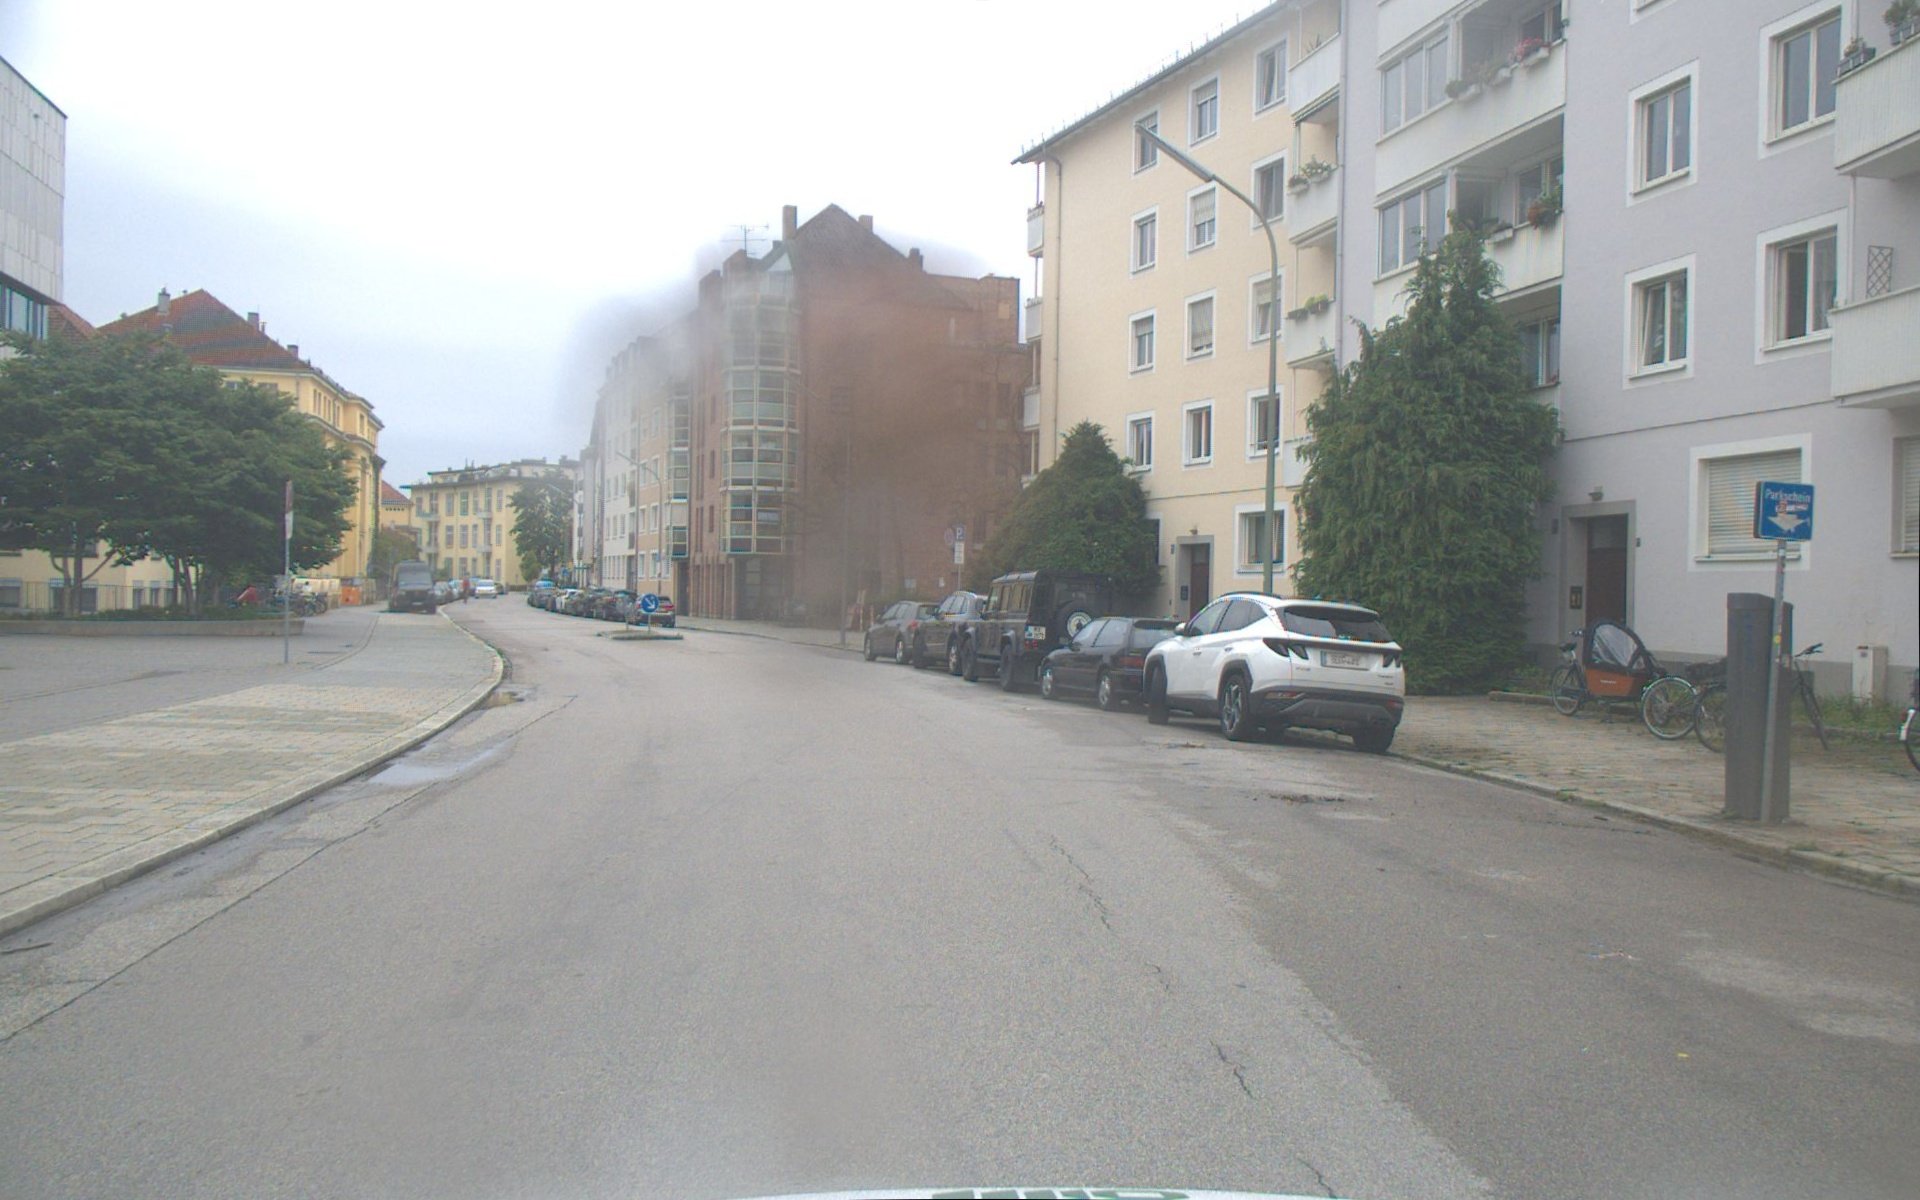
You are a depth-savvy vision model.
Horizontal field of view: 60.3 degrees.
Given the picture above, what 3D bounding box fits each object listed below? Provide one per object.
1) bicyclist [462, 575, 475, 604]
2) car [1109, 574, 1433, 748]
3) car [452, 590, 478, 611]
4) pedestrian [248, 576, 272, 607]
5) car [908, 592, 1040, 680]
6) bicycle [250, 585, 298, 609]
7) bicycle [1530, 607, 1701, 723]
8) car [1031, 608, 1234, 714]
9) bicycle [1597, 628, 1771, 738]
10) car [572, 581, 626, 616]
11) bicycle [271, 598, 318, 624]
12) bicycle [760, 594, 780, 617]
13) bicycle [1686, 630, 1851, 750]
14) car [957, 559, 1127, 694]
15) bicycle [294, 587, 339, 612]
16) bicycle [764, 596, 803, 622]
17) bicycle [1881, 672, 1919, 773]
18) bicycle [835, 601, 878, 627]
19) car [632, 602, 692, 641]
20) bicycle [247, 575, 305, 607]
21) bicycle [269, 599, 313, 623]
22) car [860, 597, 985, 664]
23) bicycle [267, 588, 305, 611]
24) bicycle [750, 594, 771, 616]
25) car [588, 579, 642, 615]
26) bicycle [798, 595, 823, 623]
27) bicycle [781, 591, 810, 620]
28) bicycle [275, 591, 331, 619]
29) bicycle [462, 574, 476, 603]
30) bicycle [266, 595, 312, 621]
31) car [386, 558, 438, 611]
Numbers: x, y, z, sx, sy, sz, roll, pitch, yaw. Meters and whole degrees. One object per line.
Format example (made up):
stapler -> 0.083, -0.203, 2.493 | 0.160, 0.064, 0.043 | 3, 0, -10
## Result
bicyclist -> -35.672, -0.746, 120.068 | 0.754, 2.048, 0.765 | -3, 2, -15
car -> 3.459, 0.610, 19.417 | 1.992, 1.707, 4.597 | 3, 1, -13
car -> -42.608, 0.034, 142.354 | 1.995, 1.649, 4.481 | -1, -1, -18
pedestrian -> -28.552, -0.353, 67.475 | 0.706, 1.183, 1.036 | 3, 1, -15
car -> 0.205, 0.682, 33.498 | 1.630, 1.593, 4.499 | 3, 0, -13
bicycle -> -27.665, -0.107, 66.741 | 1.689, 0.877, 0.438 | 3, 0, -14
bicycle -> 8.632, 0.814, 21.908 | 0.730, 1.391, 2.460 | -2, 1, -16
car -> 2.442, 0.847, 24.313 | 1.632, 1.372, 3.787 | 3, -1, -16
bicycle -> 8.381, 0.930, 19.207 | 0.571, 1.178, 1.810 | -2, 1, -35
car -> -19.240, -0.105, 88.025 | 1.938, 1.629, 4.638 | 3, 1, -23
bicycle -> -29.747, 0.495, 73.938 | 1.832, 1.047, 0.538 | 3, 0, -10
bicycle -> -9.482, 0.252, 82.513 | 0.479, 1.078, 1.982 | 2, 0, -22
bicycle -> 8.781, 0.952, 17.952 | 1.802, 1.178, 0.574 | -2, 1, -24
car -> 1.337, 0.383, 28.961 | 1.717, 2.118, 4.501 | 3, 1, -13
bicycle -> -30.949, -0.034, 79.535 | 1.870, 1.111, 0.676 | 3, 0, -10
bicycle -> -8.620, 0.436, 80.954 | 1.817, 1.167, 0.486 | 3, 0, -14
bicycle -> 9.387, 1.106, 15.465 | 1.443, 0.872, 0.443 | -2, 1, -15
bicycle -> -4.240, 0.558, 67.731 | 1.675, 0.982, 0.543 | 3, 0, -20
car -> -13.293, 0.939, 73.683 | 1.896, 1.538, 4.367 | 3, 0, -20
bicycle -> -28.704, -0.388, 69.430 | 2.066, 1.249, 0.785 | 3, 0, -10
bicycle -> -28.767, 0.457, 71.117 | 1.644, 0.932, 0.594 | 3, 0, -10
car -> -0.944, 0.684, 38.605 | 1.728, 1.421, 4.022 | 3, -1, -19
bicycle -> -27.691, -0.002, 68.002 | 1.348, 0.877, 0.438 | 3, 0, -14
bicycle -> -9.941, 0.258, 82.310 | 0.479, 1.078, 1.982 | 2, -1, -22
car -> -17.426, -0.179, 83.458 | 1.805, 1.629, 4.236 | 3, 1, -23
bicycle -> -6.653, 0.398, 73.718 | 0.411, 1.193, 1.360 | 3, 0, 24
bicycle -> -7.428, 0.256, 74.641 | 0.527, 1.270, 2.393 | 2, -1, -25
bicycle -> -29.922, 0.224, 75.324 | 2.268, 1.154, 0.580 | 3, 0, -10
bicycle -> -35.639, -0.858, 120.085 | 0.735, 2.048, 2.838 | -1, 2, -14
bicycle -> -29.545, 0.331, 72.819 | 1.758, 1.051, 0.506 | 3, 0, -10
car -> -29.558, -0.817, 89.091 | 2.387, 2.762, 5.915 | 0, 0, -21
